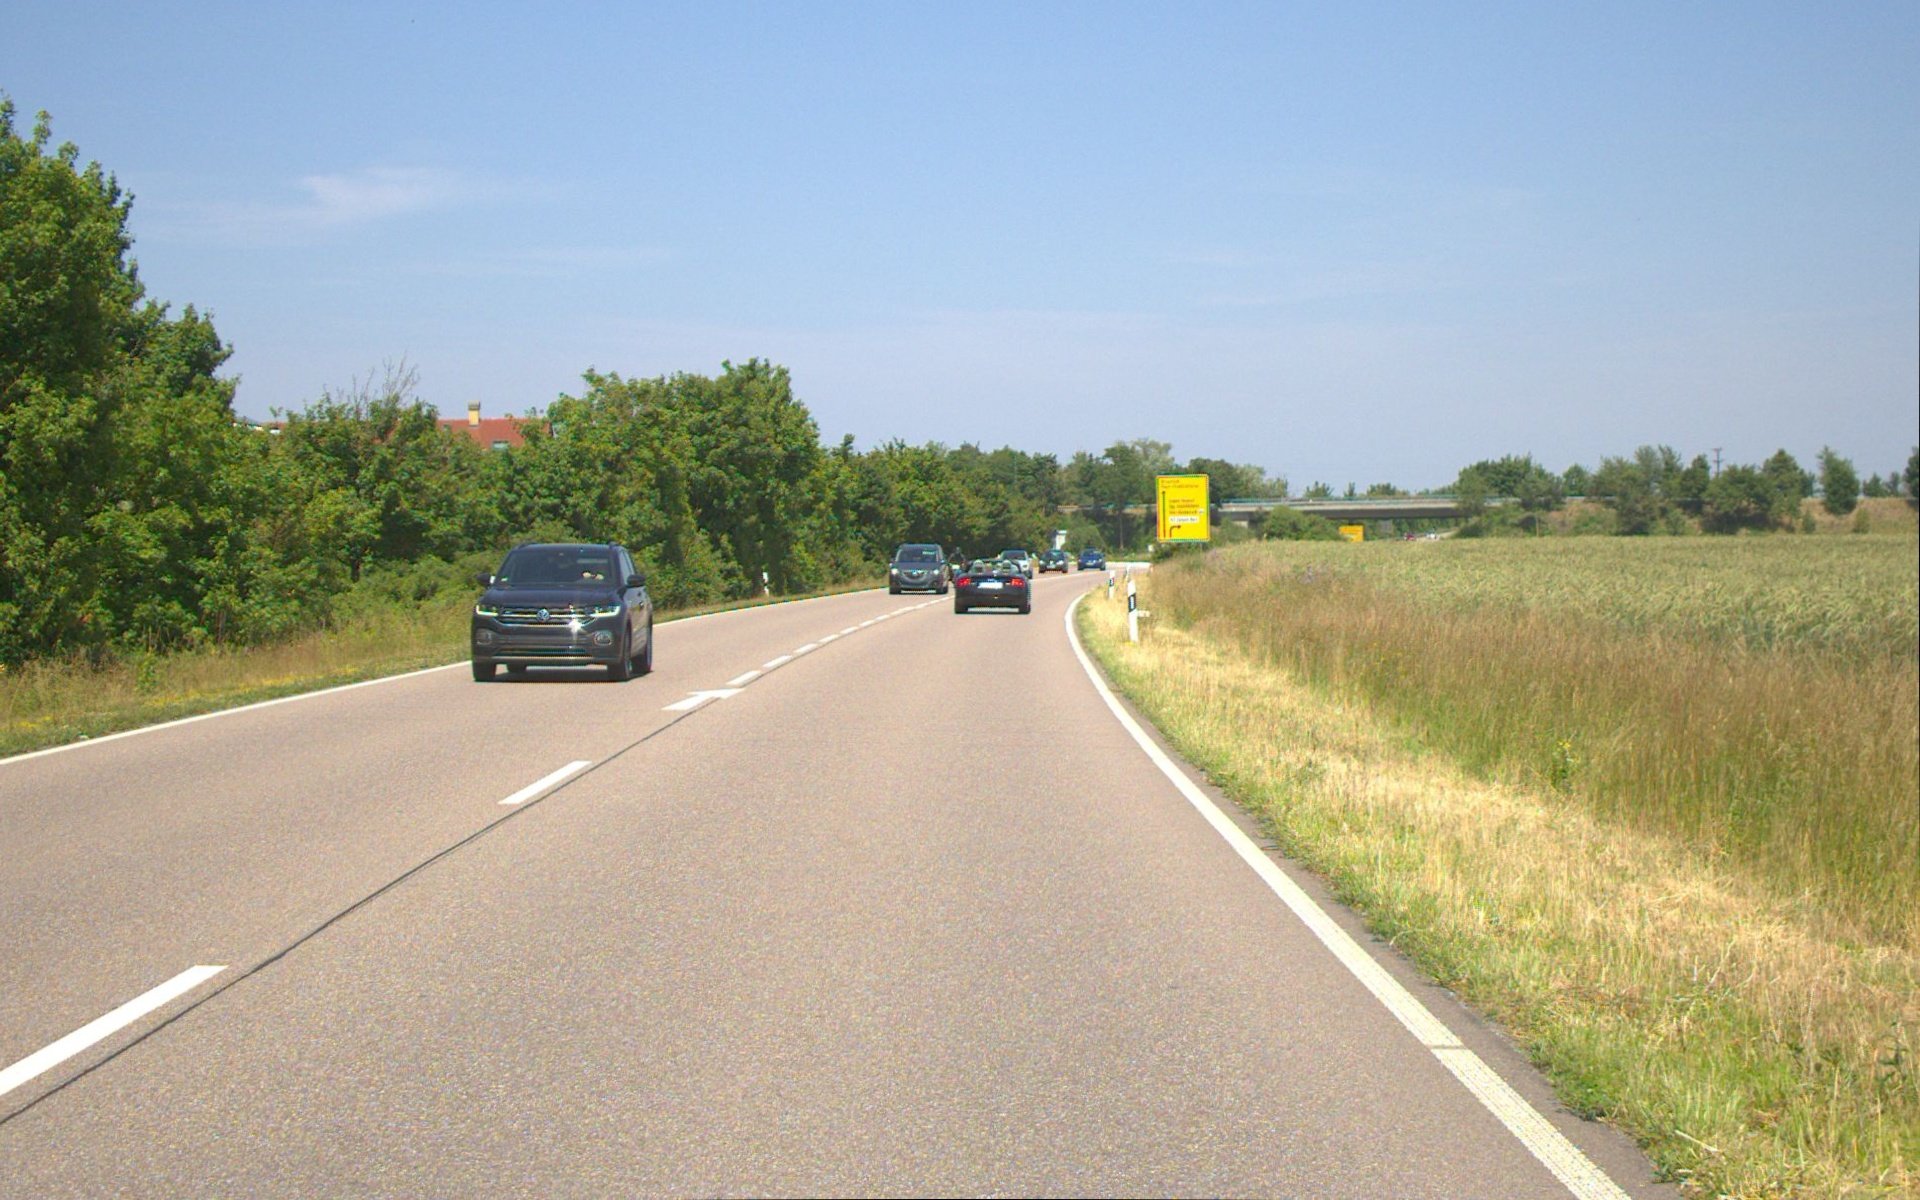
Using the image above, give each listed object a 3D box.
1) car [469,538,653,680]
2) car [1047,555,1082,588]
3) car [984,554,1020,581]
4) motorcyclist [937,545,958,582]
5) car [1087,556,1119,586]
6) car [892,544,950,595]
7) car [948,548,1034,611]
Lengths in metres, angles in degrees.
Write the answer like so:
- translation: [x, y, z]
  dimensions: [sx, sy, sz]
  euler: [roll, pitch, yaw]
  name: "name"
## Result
- translation: [-4.554, 0.068, 39.634]
  dimensions: [1.699, 1.561, 3.671]
  euler: [0, 1, 0]
  name: "car"
- translation: [6.553, -1.814, 214.909]
  dimensions: [1.994, 2.007, 4.000]
  euler: [1, 1, 4]
  name: "car"
- translation: [2.146, -1.661, 175.562]
  dimensions: [1.707, 1.377, 3.819]
  euler: [1, 1, 2]
  name: "car"
- translation: [-0.507, -1.446, 136.836]
  dimensions: [0.835, 1.469, 1.818]
  euler: [0, 1, 0]
  name: "motorcyclist"
- translation: [9.803, -2.016, 235.721]
  dimensions: [1.994, 2.007, 3.999]
  euler: [1, 1, 4]
  name: "car"
- translation: [-1.318, -1.073, 118.160]
  dimensions: [1.819, 1.695, 5.001]
  euler: [0, 1, 2]
  name: "car"
- translation: [0.759, -0.491, 81.924]
  dimensions: [1.814, 1.436, 4.000]
  euler: [1, 1, 4]
  name: "car"
